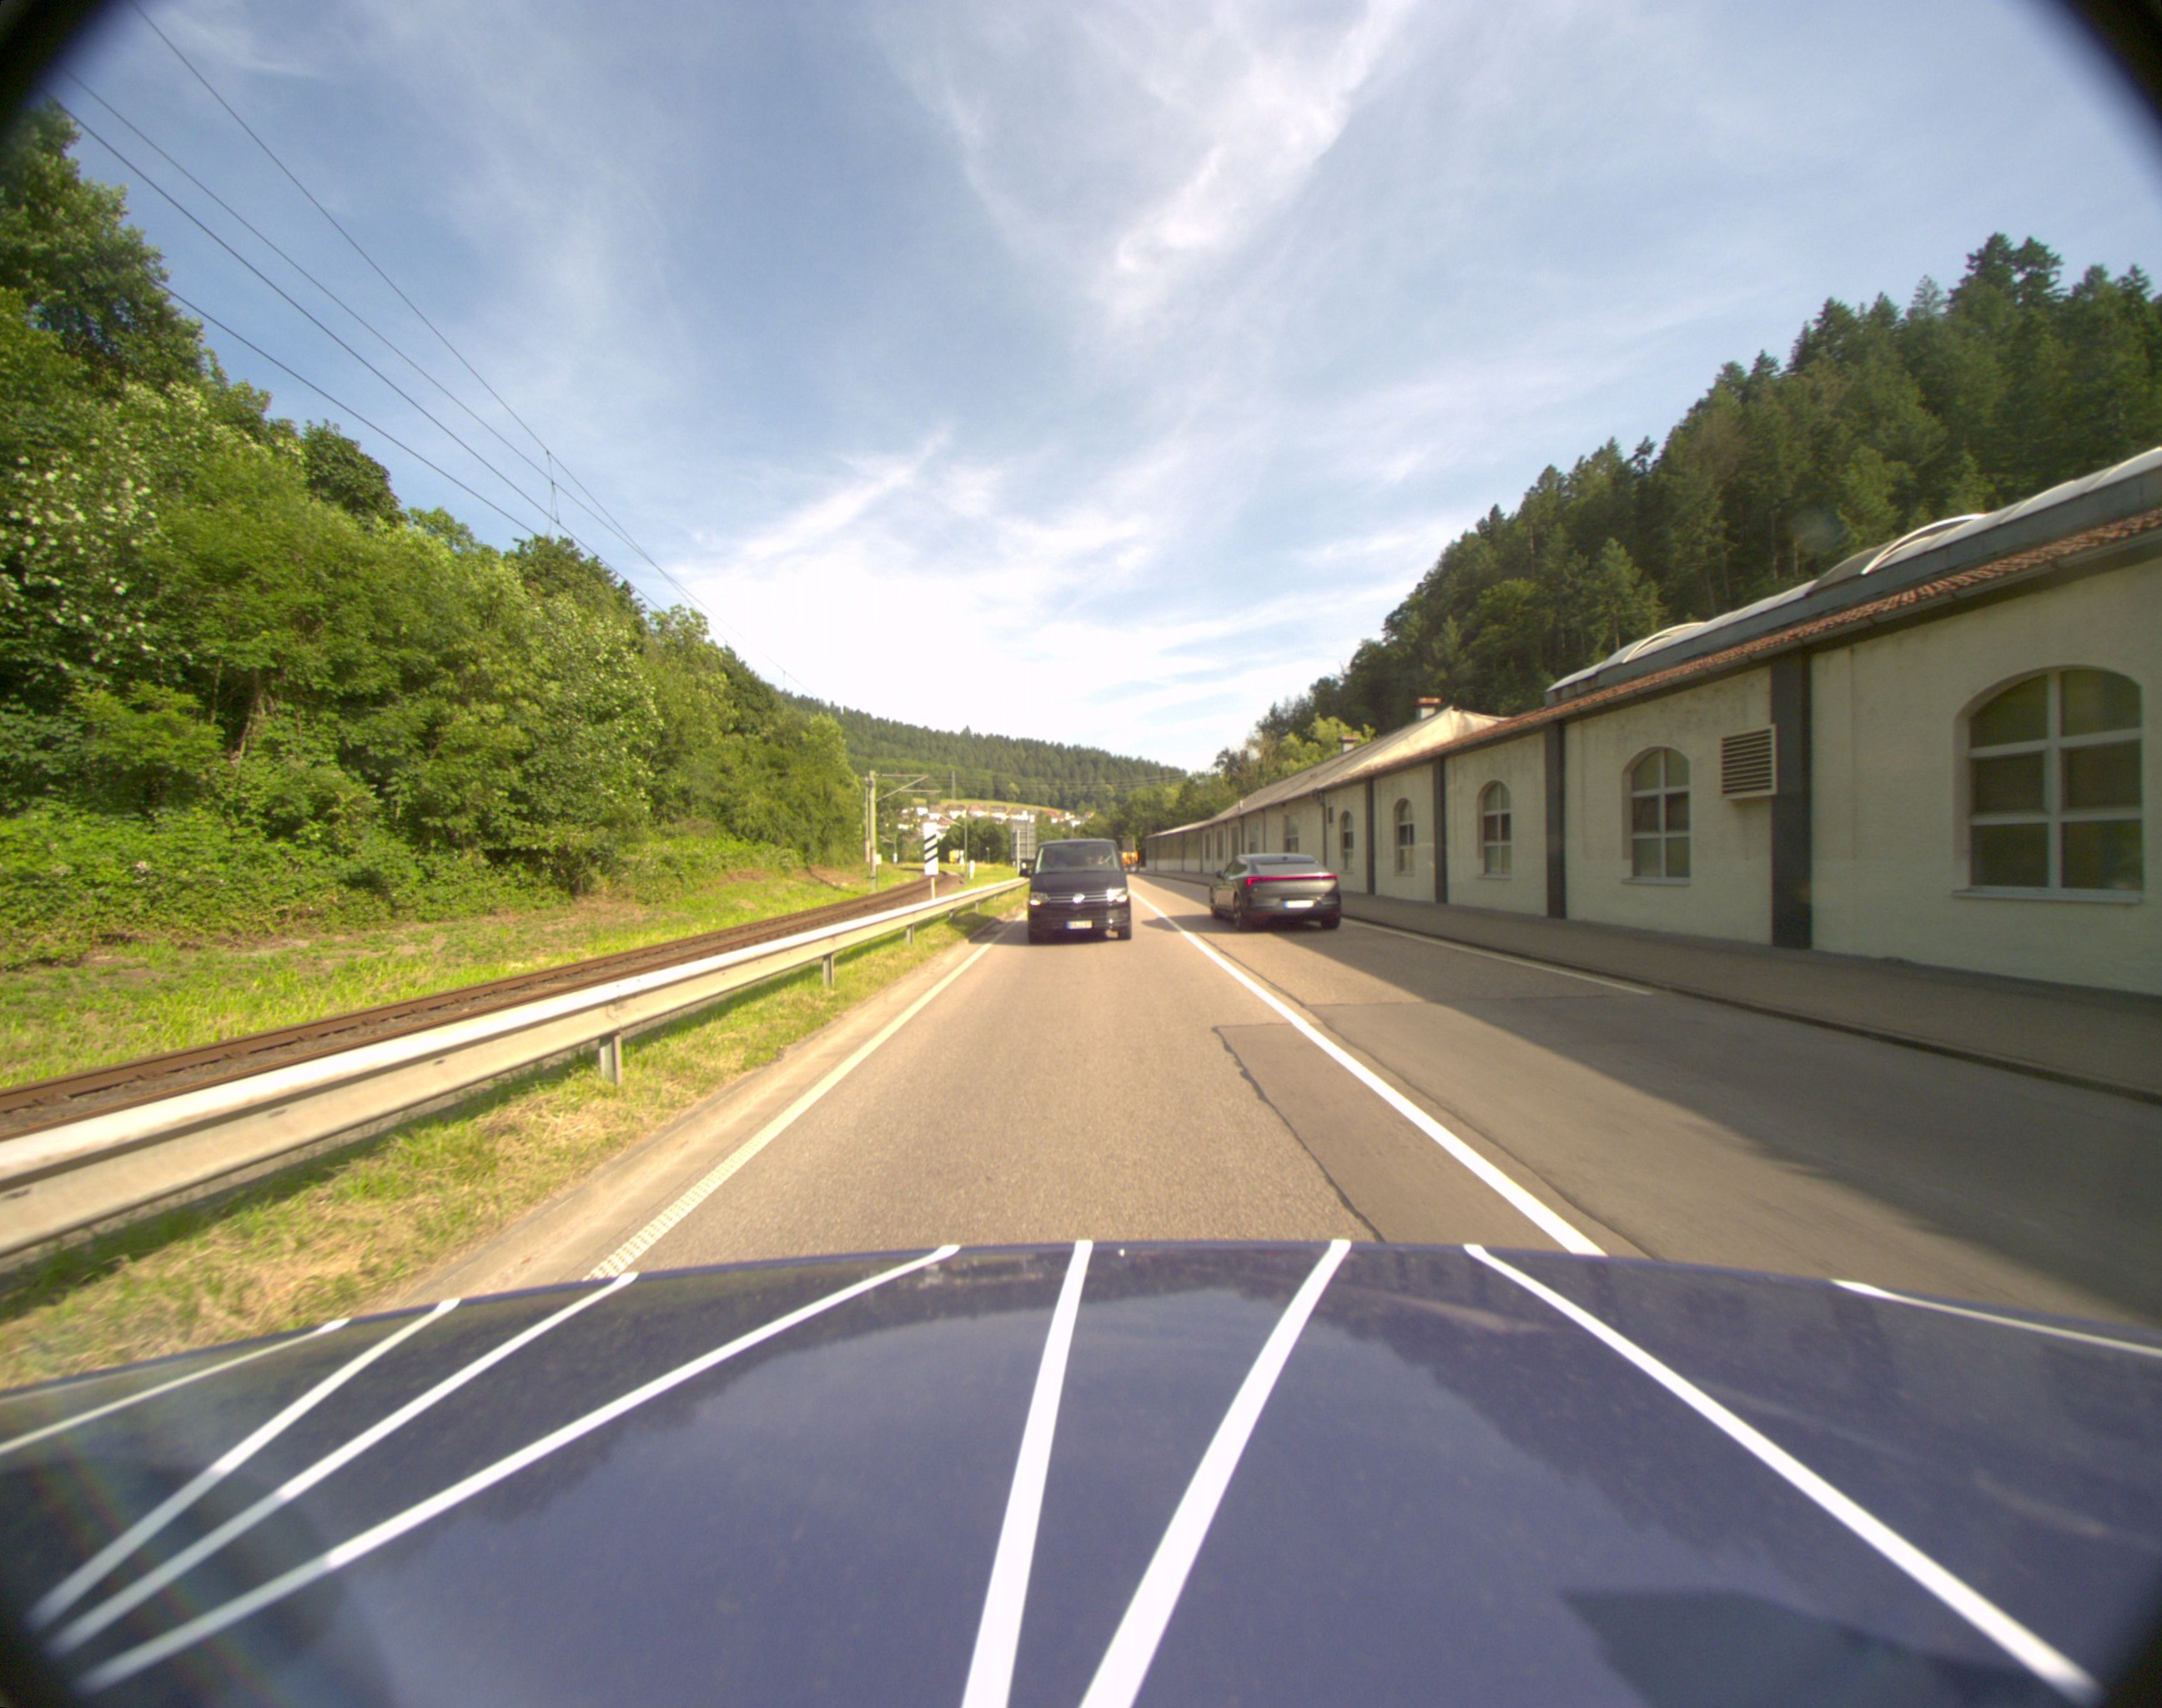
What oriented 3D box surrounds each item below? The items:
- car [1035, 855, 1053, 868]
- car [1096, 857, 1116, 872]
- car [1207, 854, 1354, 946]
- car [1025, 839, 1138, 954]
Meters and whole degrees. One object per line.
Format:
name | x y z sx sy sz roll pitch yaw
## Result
car | -4.962 1.034 100.777 1.874 1.583 4.048 -2 0 -10
car | 2.351 0.977 73.381 1.744 1.384 4.109 -2 0 0
car | 3.992 0.842 16.019 1.934 1.572 4.458 -3 0 1
car | -0.091 0.739 15.691 1.901 1.927 5.187 -2 0 -2
